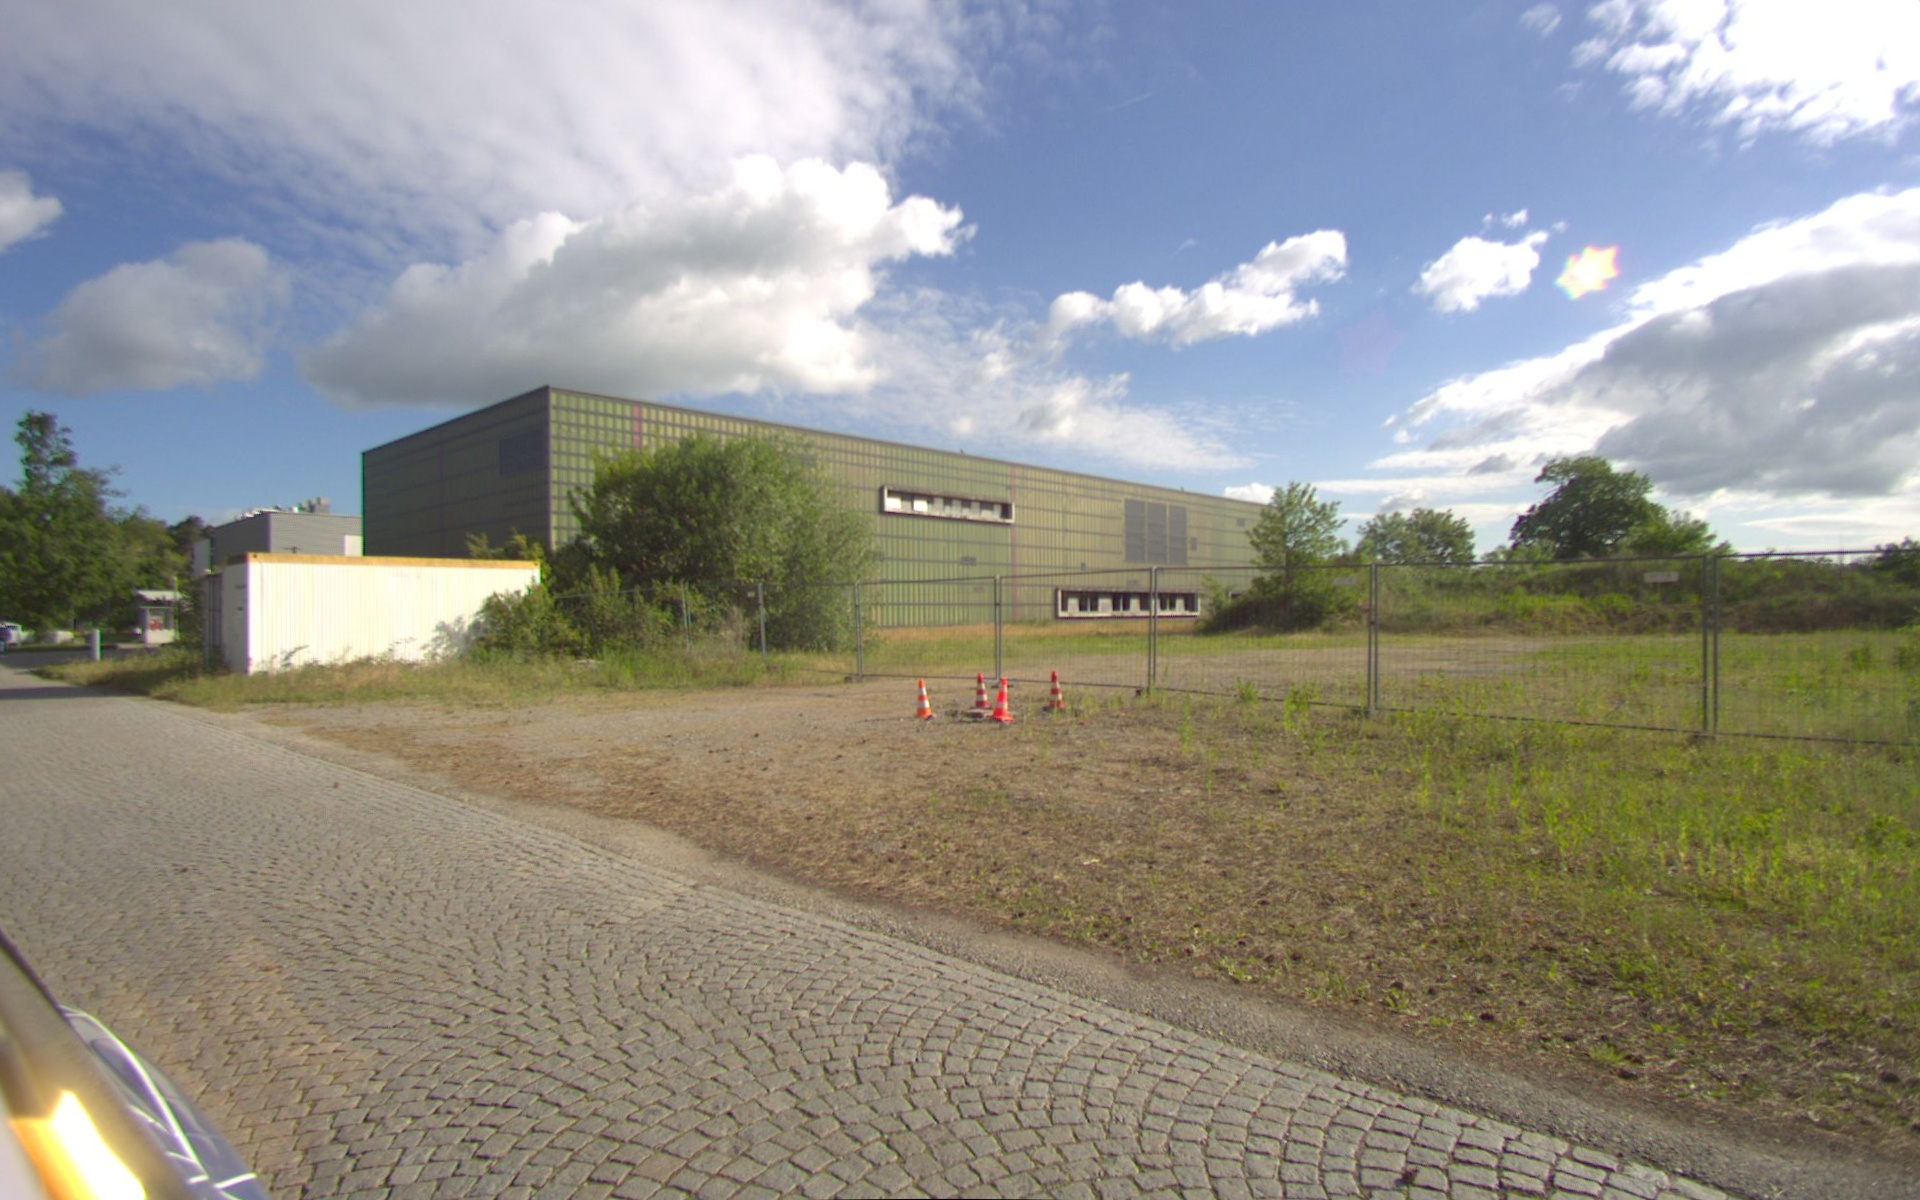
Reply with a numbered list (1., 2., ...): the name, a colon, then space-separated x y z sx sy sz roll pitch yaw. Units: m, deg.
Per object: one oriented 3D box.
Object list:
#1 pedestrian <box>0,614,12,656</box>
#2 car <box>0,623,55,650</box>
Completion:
1. pedestrian: -42.847 1.556 44.974 0.982 1.821 0.897 -1 -1 36
2. car: -62.536 2.405 66.904 3.940 1.701 2.001 1 -1 -44
